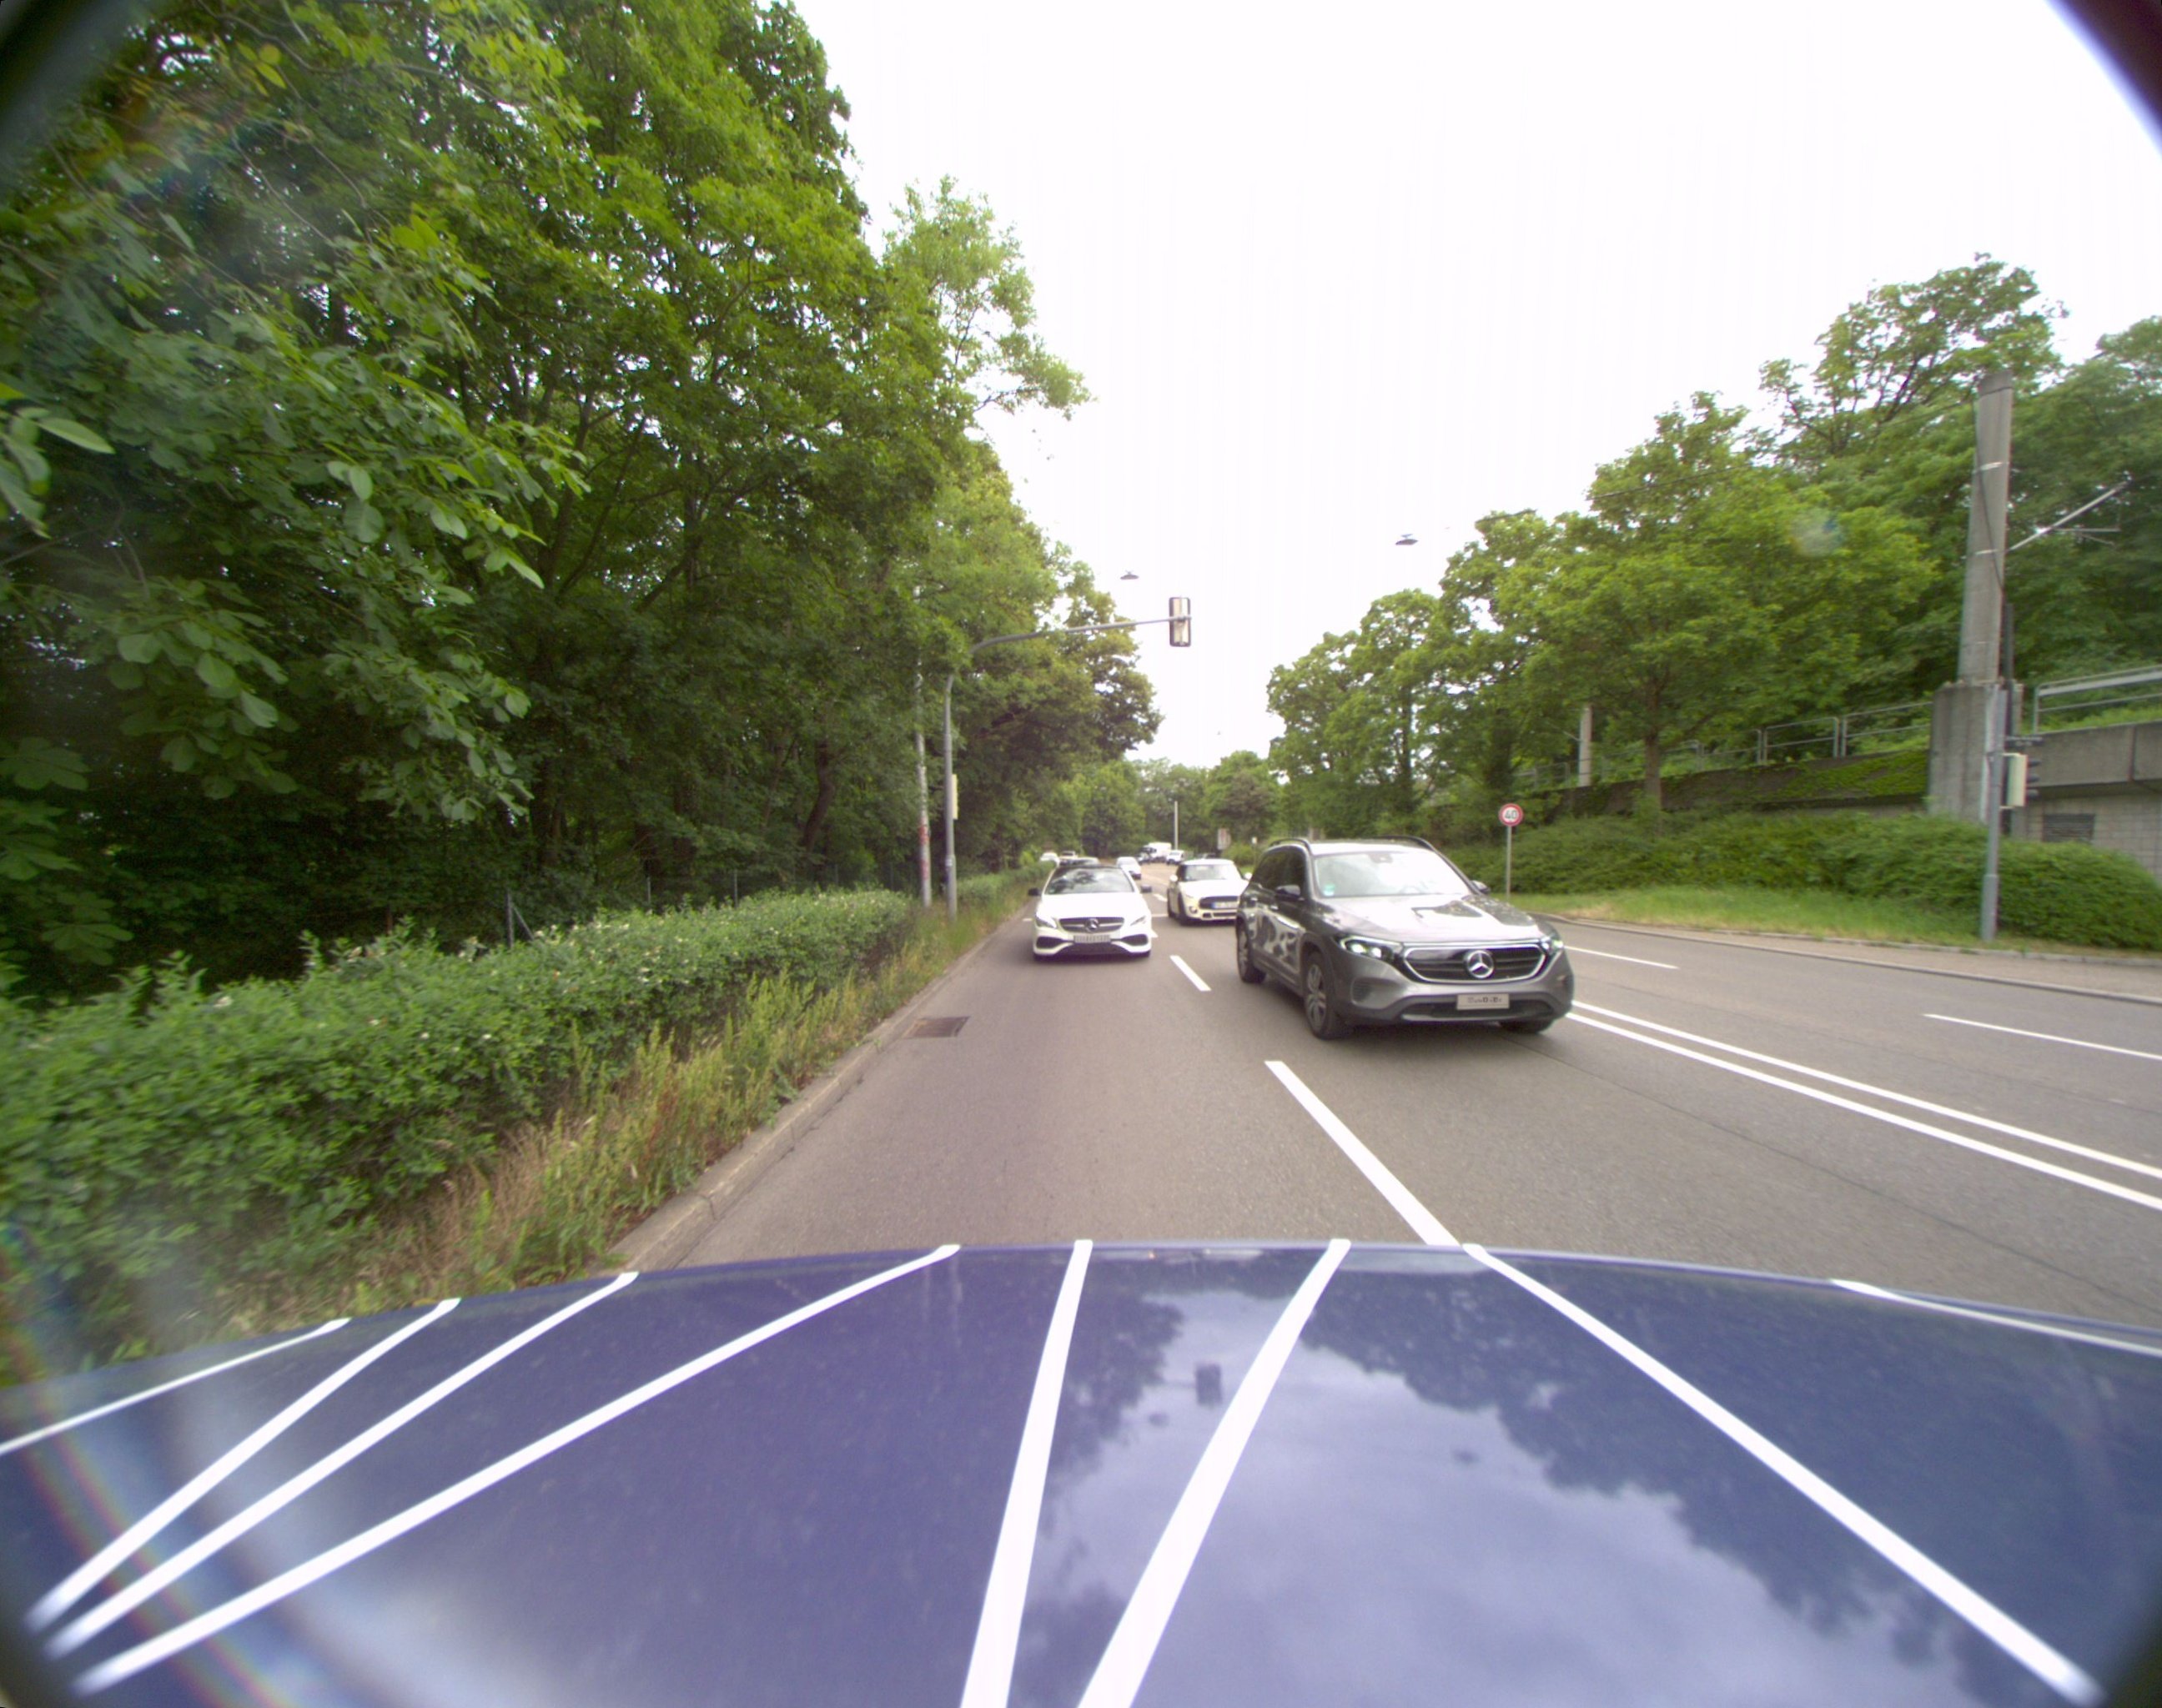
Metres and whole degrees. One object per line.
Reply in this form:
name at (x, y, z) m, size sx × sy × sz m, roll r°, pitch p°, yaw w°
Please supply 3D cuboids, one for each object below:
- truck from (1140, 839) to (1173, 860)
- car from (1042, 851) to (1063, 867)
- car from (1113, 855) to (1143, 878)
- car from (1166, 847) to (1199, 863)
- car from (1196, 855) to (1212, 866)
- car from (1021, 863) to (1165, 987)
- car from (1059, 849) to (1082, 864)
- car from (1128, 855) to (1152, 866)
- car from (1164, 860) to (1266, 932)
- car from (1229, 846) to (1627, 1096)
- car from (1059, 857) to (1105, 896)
truck at (11.856, -0.723, 118.373) m, size 2.195 × 3.137 × 6.665 m, roll 2°, pitch 0°, yaw 33°
car at (-2.628, 0.419, 71.355) m, size 1.765 × 1.433 × 3.892 m, roll 1°, pitch 0°, yaw 1°
car at (2.998, 0.775, 49.140) m, size 1.664 × 1.382 × 4.182 m, roll -1°, pitch 0°, yaw -1°
car at (14.794, 0.101, 109.942) m, size 2.280 × 2.187 × 6.471 m, roll -1°, pitch 0°, yaw 32°
car at (20.419, 1.025, 126.062) m, size 1.775 × 1.789 × 4.007 m, roll 0°, pitch 0°, yaw 22°
car at (0.180, 0.938, 11.787) m, size 1.801 × 1.470 × 4.010 m, roll -2°, pitch 0°, yaw 1°
car at (-1.158, 0.254, 86.272) m, size 1.754 × 1.575 × 4.014 m, roll 2°, pitch 0°, yaw 10°
car at (8.146, 0.846, 104.591) m, size 1.761 × 1.433 × 3.899 m, roll 2°, pitch 0°, yaw 27°
car at (2.961, 0.873, 17.482) m, size 1.688 × 1.415 × 3.733 m, roll -1°, pitch 0°, yaw 1°
car at (2.745, 0.779, 7.257) m, size 1.854 × 1.641 × 4.357 m, roll -1°, pitch 0°, yaw 1°
car at (0.097, 0.921, 32.460) m, size 1.755 × 1.417 × 4.010 m, roll 3°, pitch 1°, yaw 2°
